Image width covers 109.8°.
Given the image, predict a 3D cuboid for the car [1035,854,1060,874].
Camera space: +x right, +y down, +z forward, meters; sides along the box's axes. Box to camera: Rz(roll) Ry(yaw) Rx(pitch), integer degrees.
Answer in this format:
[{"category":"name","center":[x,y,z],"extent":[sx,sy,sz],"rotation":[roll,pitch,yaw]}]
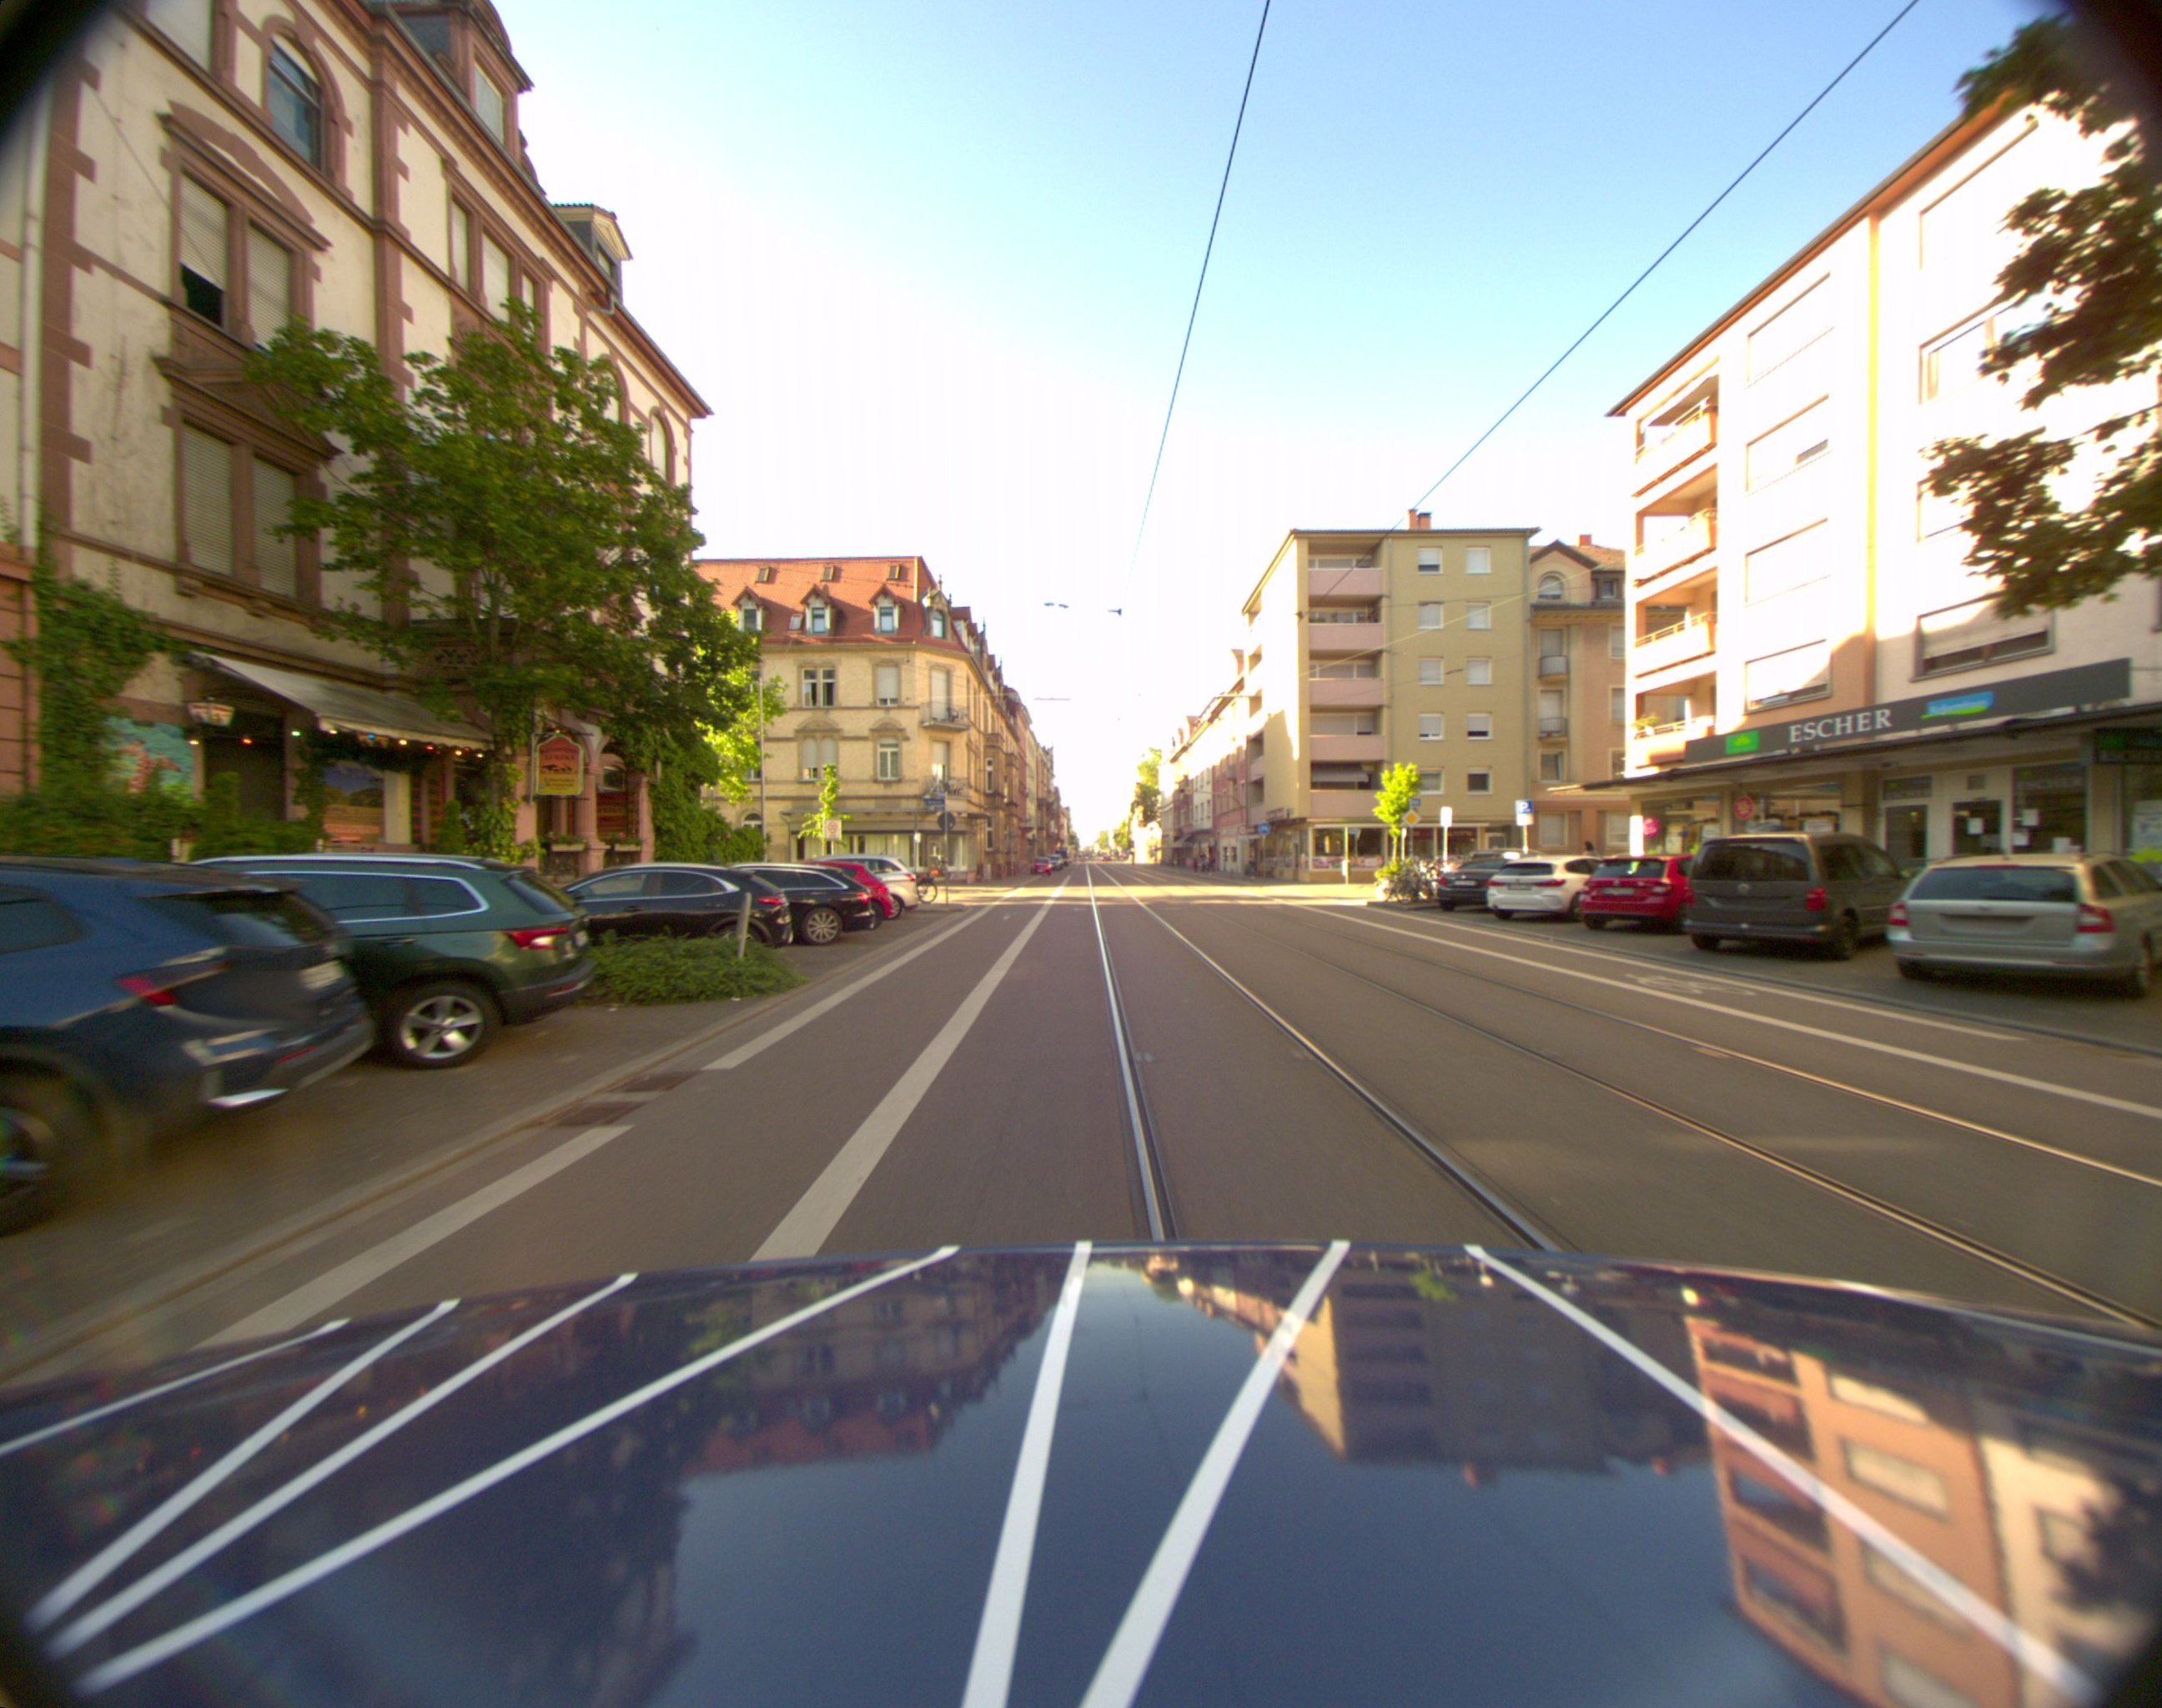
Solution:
[{"category":"car","center":[-2.825,0.824,64.399],"extent":[1.870,1.474,4.400],"rotation":[2,1,0]}]

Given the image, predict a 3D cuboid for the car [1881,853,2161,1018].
[{"category":"car","center":[11.209,0.765,8.828],"extent":[4.025,1.441,1.695],"rotation":[-2,1,-29]}]

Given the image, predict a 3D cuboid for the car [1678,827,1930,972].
[{"category":"car","center":[11.124,0.569,11.653],"extent":[3.828,1.775,1.793],"rotation":[-3,2,-30]}]

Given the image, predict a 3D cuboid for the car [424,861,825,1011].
[{"category":"car","center":[-5.959,0.964,10.560],"extent":[4.337,1.587,2.041],"rotation":[-2,1,-24]}]

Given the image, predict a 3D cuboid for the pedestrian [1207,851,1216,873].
[{"category":"pedestrian","center":[9.991,0.581,58.293],"extent":[0.564,1.676,0.616],"rotation":[-1,1,-1]}]

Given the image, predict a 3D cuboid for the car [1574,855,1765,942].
[{"category":"car","center":[11.398,0.780,14.687],"extent":[3.476,1.464,1.645],"rotation":[-1,0,-28]}]

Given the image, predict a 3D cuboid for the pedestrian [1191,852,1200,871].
[{"category":"pedestrian","center":[9.823,0.629,65.059],"extent":[0.637,1.540,0.623],"rotation":[-1,1,0]}]

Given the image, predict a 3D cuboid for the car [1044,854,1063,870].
[{"category":"car","center":[-2.965,0.833,82.033],"extent":[1.871,1.637,4.399],"rotation":[3,0,-4]}]

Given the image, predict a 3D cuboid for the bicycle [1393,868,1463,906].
[{"category":"bicycle","center":[10.663,1.007,23.434],"extent":[0.685,1.116,1.883],"rotation":[-1,-2,-30]}]

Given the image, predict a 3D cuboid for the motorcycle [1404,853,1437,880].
[{"category":"motorcycle","center":[16.011,0.574,35.878],"extent":[0.621,1.202,2.176],"rotation":[-1,1,1]}]

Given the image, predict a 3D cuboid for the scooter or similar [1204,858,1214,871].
[{"category":"scooter or similar","center":[10.807,0.862,64.363],"extent":[0.663,1.055,1.105],"rotation":[-1,0,1]}]

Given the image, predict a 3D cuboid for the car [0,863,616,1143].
[{"category":"car","center":[-6.109,0.937,5.875],"extent":[4.004,1.587,1.955],"rotation":[-2,1,-24]}]

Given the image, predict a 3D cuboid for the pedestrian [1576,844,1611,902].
[{"category":"pedestrian","center":[15.019,0.545,22.277],"extent":[0.570,1.643,0.641],"rotation":[-1,1,1]}]

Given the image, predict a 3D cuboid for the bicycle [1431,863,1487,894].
[{"category":"bicycle","center":[14.193,0.910,28.608],"extent":[0.683,1.102,2.435],"rotation":[-1,-2,-6]}]

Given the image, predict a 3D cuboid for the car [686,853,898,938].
[{"category":"car","center":[-6.172,0.803,16.392],"extent":[4.004,1.528,1.914],"rotation":[-2,1,-24]}]

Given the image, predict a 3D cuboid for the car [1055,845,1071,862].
[{"category":"car","center":[-2.708,-0.057,115.693],"extent":[2.128,2.478,5.856],"rotation":[-1,1,2]}]

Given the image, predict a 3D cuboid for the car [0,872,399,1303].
[{"category":"car","center":[-5.944,0.968,3.243],"extent":[4.004,1.587,2.083],"rotation":[-2,1,-24]}]

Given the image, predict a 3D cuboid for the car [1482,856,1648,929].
[{"category":"car","center":[11.135,0.800,17.442],"extent":[3.798,1.392,1.750],"rotation":[-2,1,-32]}]

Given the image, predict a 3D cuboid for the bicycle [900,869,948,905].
[{"category":"bicycle","center":[-5.054,1.065,24.531],"extent":[1.400,1.120,0.551],"rotation":[-1,1,1]}]

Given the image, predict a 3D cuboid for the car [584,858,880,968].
[{"category":"car","center":[-6.092,0.930,13.689],"extent":[4.454,1.587,2.084],"rotation":[-2,1,-24]}]

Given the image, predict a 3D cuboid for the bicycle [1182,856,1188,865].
[{"category":"bicycle","center":[11.944,0.724,87.398],"extent":[0.425,1.053,2.329],"rotation":[-1,1,0]}]

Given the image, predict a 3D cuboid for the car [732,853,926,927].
[{"category":"car","center":[-6.275,0.818,19.008],"extent":[4.371,1.587,1.850],"rotation":[-2,1,-24]}]

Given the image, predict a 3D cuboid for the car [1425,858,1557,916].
[{"category":"car","center":[10.984,0.822,20.309],"extent":[3.476,1.330,1.620],"rotation":[-2,1,-33]}]

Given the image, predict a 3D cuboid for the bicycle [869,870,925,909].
[{"category":"bicycle","center":[-5.442,1.053,22.450],"extent":[1.563,1.120,0.295],"rotation":[-1,1,7]}]

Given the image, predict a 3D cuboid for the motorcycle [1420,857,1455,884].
[{"category":"motorcycle","center":[16.810,0.771,35.871],"extent":[0.621,1.202,2.176],"rotation":[-1,1,1]}]

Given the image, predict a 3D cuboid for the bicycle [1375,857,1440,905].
[{"category":"bicycle","center":[9.582,0.785,22.415],"extent":[0.683,1.311,2.435],"rotation":[-1,-2,-3]}]

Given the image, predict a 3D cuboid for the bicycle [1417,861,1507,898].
[{"category":"bicycle","center":[11.993,0.812,23.980],"extent":[2.429,1.102,0.685],"rotation":[-3,-2,41]}]
